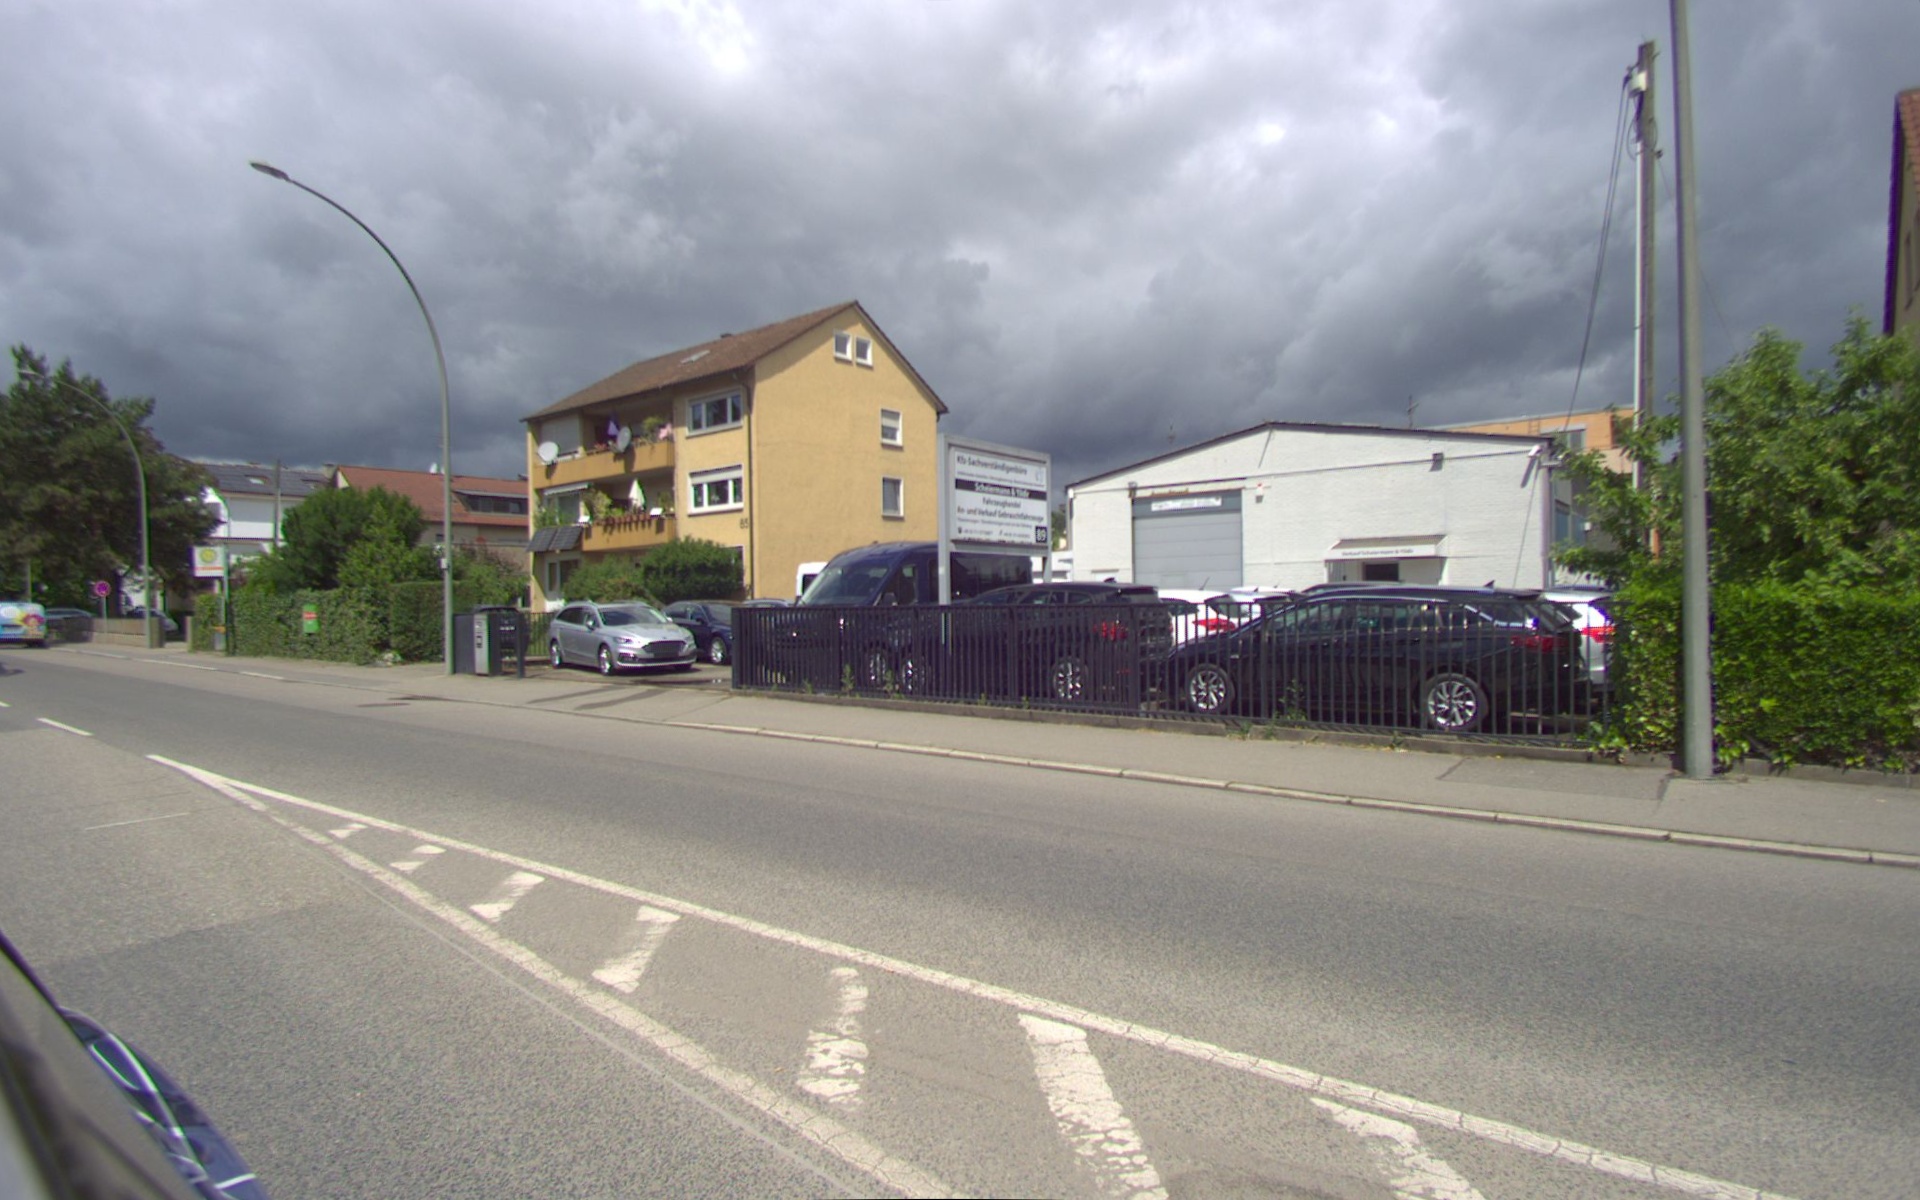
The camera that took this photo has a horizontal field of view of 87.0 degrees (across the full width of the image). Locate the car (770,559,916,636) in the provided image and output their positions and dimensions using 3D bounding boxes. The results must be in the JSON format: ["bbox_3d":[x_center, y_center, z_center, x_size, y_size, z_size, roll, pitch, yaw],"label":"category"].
[{"bbox_3d":[-3.375,-0.062,28.848,3.998,2.029,1.973,0,0,41],"label":"car"}]

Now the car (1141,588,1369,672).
[{"bbox_3d":[5.778,0.539,20.094,3.998,1.498,1.742,0,0,41],"label":"car"}]

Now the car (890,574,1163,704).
[{"bbox_3d":[0.894,0.491,14.654,3.619,1.633,1.790,0,0,41],"label":"car"}]

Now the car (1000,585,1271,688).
[{"bbox_3d":[2.762,0.521,16.432,3.998,1.470,1.795,0,0,41],"label":"car"}]

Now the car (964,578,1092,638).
[{"bbox_3d":[2.300,0.265,34.741,3.998,1.941,1.973,0,0,41],"label":"car"}]

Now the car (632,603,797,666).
[{"bbox_3d":[-5.882,0.751,24.026,3.998,1.352,1.860,0,0,41],"label":"car"}]

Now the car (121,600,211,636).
[{"bbox_3d":[-46.397,1.031,59.154,3.954,2.029,1.995,0,0,9],"label":"car"}]

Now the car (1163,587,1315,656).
[{"bbox_3d":[8.376,0.597,30.530,3.998,1.941,1.973,0,0,41],"label":"car"}]

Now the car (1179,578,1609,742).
[{"bbox_3d":[4.692,0.545,11.238,4.040,1.494,1.840,0,0,40],"label":"car"}]

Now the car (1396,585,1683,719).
[{"bbox_3d":[9.905,0.786,17.431,3.998,2.029,1.973,0,0,41],"label":"car"}]

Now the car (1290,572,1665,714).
[{"bbox_3d":[6.631,0.468,13.168,3.998,1.552,1.973,0,0,41],"label":"car"}]

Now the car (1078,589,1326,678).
[{"bbox_3d":[4.249,0.530,18.103,3.998,1.423,1.716,0,0,41],"label":"car"}]

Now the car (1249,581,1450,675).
[{"bbox_3d":[9.131,0.608,23.871,3.998,2.029,1.973,0,0,41],"label":"car"}]

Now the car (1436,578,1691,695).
[{"bbox_3d":[11.687,0.634,19.727,3.998,2.029,1.973,0,0,41],"label":"car"}]

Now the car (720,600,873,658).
[{"bbox_3d":[-4.338,0.712,26.504,3.998,1.383,1.859,0,0,41],"label":"car"}]

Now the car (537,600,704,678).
[{"bbox_3d":[-7.376,0.750,21.708,1.861,1.470,4.356,-1,1,-41],"label":"car"}]

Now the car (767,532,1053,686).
[{"bbox_3d":[-0.741,0.132,18.478,2.104,2.402,5.293,0,0,42],"label":"car"}]

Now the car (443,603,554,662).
[{"bbox_3d":[-14.096,0.936,30.870,3.521,1.678,1.807,0,0,41],"label":"car"}]

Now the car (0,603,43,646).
[{"bbox_3d":[-39.369,0.999,41.725,3.995,1.693,1.708,0,0,39],"label":"car"}]

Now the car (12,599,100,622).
[{"bbox_3d":[-68.431,0.771,76.673,2.216,1.691,4.676,0,0,39],"label":"car"}]

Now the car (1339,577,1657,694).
[{"bbox_3d":[8.176,0.473,15.551,3.998,1.560,1.973,0,0,41],"label":"car"}]
